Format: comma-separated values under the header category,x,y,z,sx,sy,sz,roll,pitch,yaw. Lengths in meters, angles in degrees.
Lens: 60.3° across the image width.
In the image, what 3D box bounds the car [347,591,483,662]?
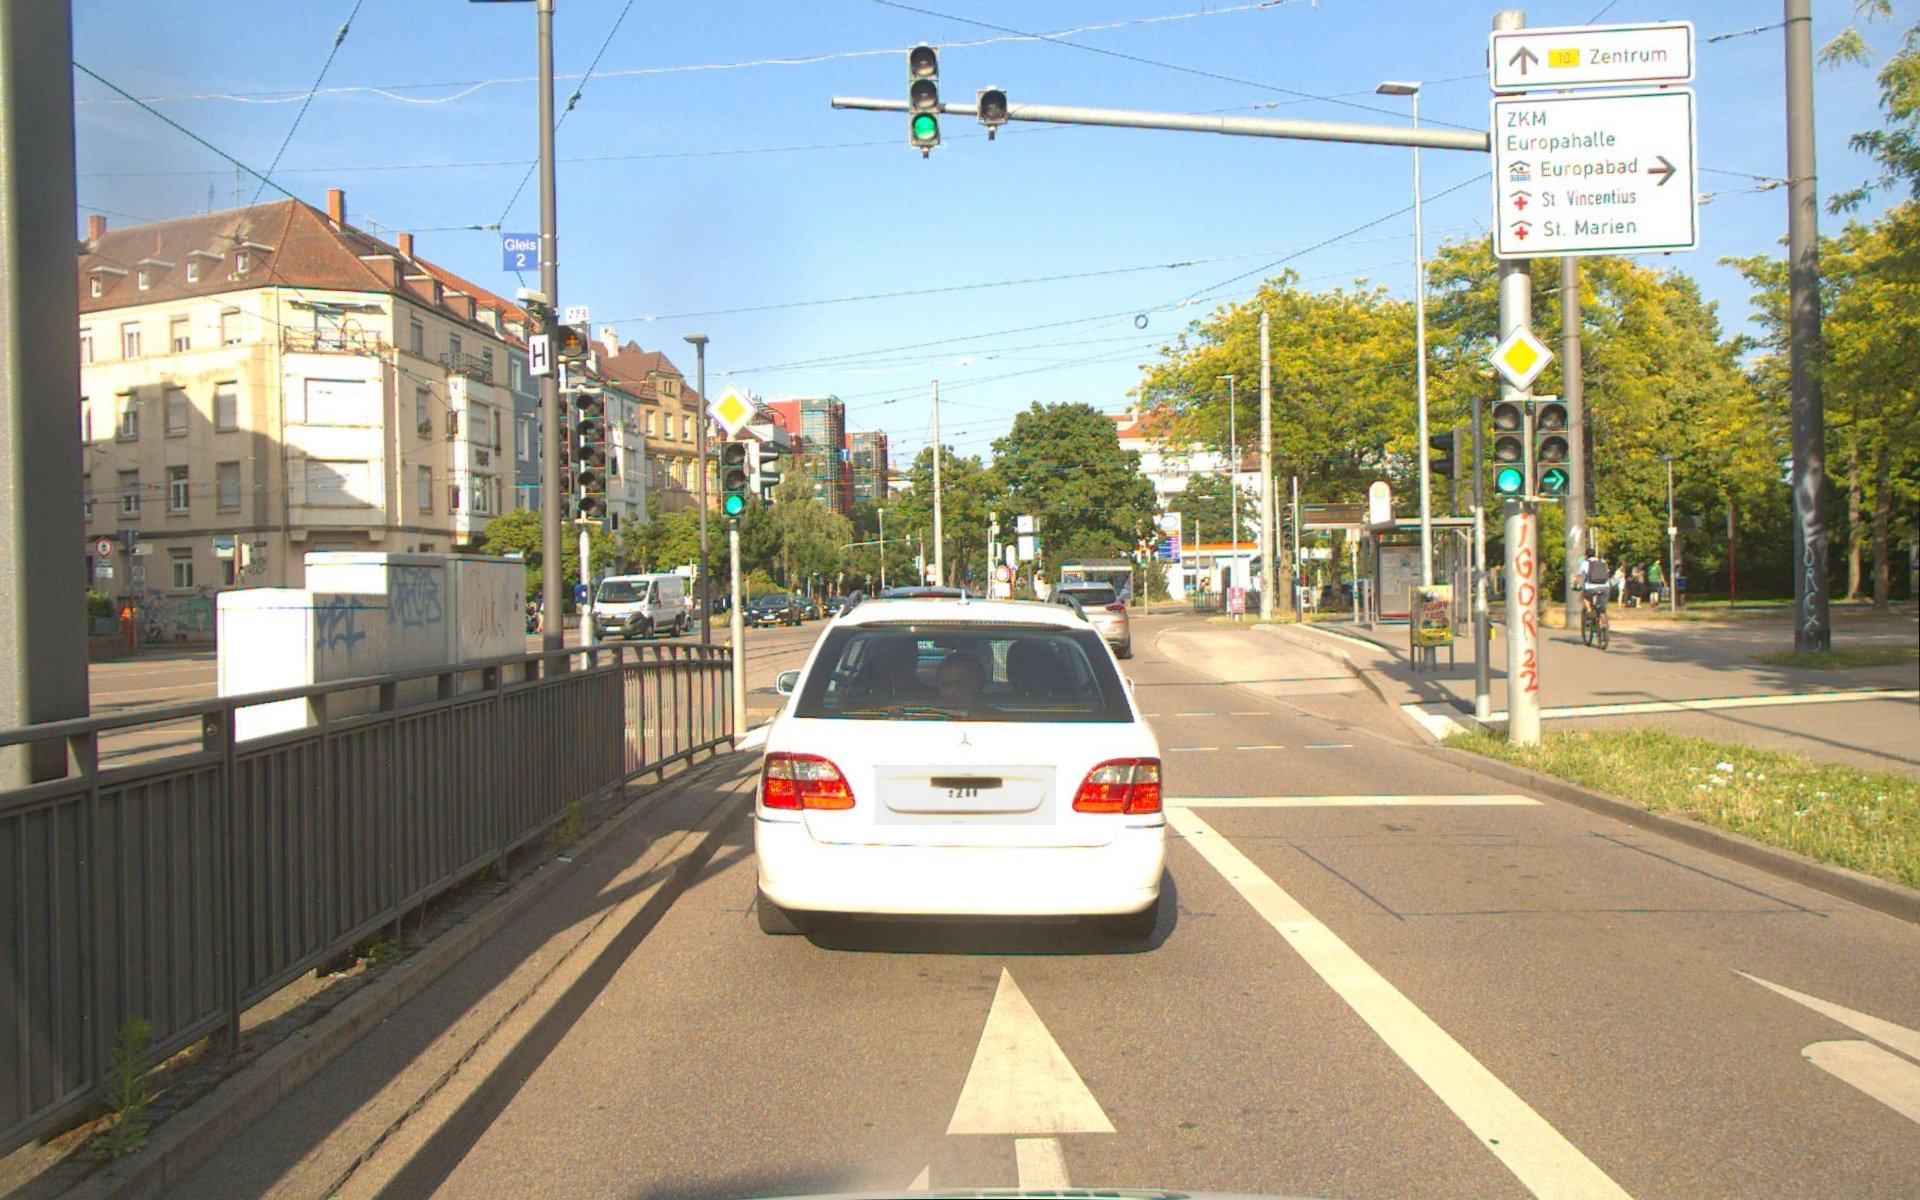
category,x,y,z,sx,sy,sz,roll,pitch,yaw
car,-13.611,0.622,41.546,1.641,1.552,4.128,-1,1,6

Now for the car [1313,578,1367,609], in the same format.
category,x,y,z,sx,sy,sz,roll,pitch,yaw
car,20.641,-0.388,89.798,1.818,1.542,3.994,-3,0,29

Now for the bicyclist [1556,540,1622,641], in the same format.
category,x,y,z,sx,sy,sz,roll,pitch,yaw
bicyclist,11.648,-0.172,30.642,0.636,1.776,1.140,-4,0,-2

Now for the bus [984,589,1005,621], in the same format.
category,x,y,z,sx,sy,sz,roll,pitch,yaw
bus,2.955,0.436,141.263,1.760,2.600,4.000,1,-1,1

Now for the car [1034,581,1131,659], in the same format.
category,x,y,z,sx,sy,sz,roll,pitch,yaw
car,2.634,0.407,36.295,1.798,1.628,3.814,0,0,-1

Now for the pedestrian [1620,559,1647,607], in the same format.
category,x,y,z,sx,sy,sz,roll,pitch,yaw
pedestrian,24.125,-0.611,59.240,0.628,1.694,0.690,-1,0,-1

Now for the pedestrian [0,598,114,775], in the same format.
category,x,y,z,sx,sy,sz,roll,pitch,yaw
pedestrian,-9.035,0.841,16.442,0.862,1.699,0.672,-1,0,1

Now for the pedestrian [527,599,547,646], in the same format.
category,x,y,z,sx,sy,sz,roll,pitch,yaw
pedestrian,-17.559,0.936,68.677,0.572,1.914,0.627,-1,0,2

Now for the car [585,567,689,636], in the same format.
category,x,y,z,sx,sy,sz,roll,pitch,yaw
car,-11.236,0.019,57.948,2.131,2.278,5.256,-1,1,5

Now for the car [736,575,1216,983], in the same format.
category,x,y,z,sx,sy,sz,roll,pitch,yaw
car,0.037,0.668,8.122,1.798,1.527,3.814,0,0,-1

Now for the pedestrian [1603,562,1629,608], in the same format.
category,x,y,z,sx,sy,sz,roll,pitch,yaw
pedestrian,23.860,-0.553,60.131,0.628,1.638,0.690,-1,0,-1

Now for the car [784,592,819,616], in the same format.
category,x,y,z,sx,sy,sz,roll,pitch,yaw
car,-9.821,0.235,102.716,1.600,1.458,3.630,-1,0,3

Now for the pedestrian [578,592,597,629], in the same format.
category,x,y,z,sx,sy,sz,roll,pitch,yaw
pedestrian,-18.102,0.518,80.400,0.625,1.781,0.912,-2,0,2

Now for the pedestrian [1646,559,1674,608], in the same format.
category,x,y,z,sx,sy,sz,roll,pitch,yaw
pedestrian,24.664,-0.587,58.289,0.628,1.694,0.690,-1,0,-1

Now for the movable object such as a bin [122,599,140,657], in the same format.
category,x,y,z,sx,sy,sz,roll,pitch,yaw
movable object such as a bin,-25.549,0.859,50.970,0.261,1.739,2.357,-1,0,-31

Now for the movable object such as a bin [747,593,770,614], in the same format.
category,x,y,z,sx,sy,sz,roll,pitch,yaw
movable object such as a bin,-14.393,0.224,118.209,1.573,1.446,1.083,-2,0,-8

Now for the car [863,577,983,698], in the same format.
category,x,y,z,sx,sy,sz,roll,pitch,yaw
car,-0.521,0.499,24.202,1.608,1.628,3.814,0,0,-1

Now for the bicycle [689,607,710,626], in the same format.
category,x,y,z,sx,sy,sz,roll,pitch,yaw
bicycle,-14.030,0.881,89.083,0.753,0.982,2.034,-1,0,0

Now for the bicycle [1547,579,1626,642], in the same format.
category,x,y,z,sx,sy,sz,roll,pitch,yaw
bicycle,11.665,0.190,30.858,0.627,1.107,1.939,-4,0,-1

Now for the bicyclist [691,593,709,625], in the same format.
category,x,y,z,sx,sy,sz,roll,pitch,yaw
bicyclist,-14.040,0.459,89.266,0.744,1.697,1.167,-1,0,0

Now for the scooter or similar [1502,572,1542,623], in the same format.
category,x,y,z,sx,sy,sz,roll,pitch,yaw
scooter or similar,13.953,-0.062,41.103,0.345,1.253,1.131,-1,0,-15

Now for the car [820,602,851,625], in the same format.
category,x,y,z,sx,sy,sz,roll,pitch,yaw
car,-8.782,0.947,117.023,1.654,1.466,4.002,-2,1,3

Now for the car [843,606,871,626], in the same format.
category,x,y,z,sx,sy,sz,roll,pitch,yaw
car,-7.816,1.178,126.177,1.653,1.445,4.001,-2,0,3

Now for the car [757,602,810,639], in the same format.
category,x,y,z,sx,sy,sz,roll,pitch,yaw
car,-8.357,0.953,78.812,1.730,1.520,4.747,-2,2,3
